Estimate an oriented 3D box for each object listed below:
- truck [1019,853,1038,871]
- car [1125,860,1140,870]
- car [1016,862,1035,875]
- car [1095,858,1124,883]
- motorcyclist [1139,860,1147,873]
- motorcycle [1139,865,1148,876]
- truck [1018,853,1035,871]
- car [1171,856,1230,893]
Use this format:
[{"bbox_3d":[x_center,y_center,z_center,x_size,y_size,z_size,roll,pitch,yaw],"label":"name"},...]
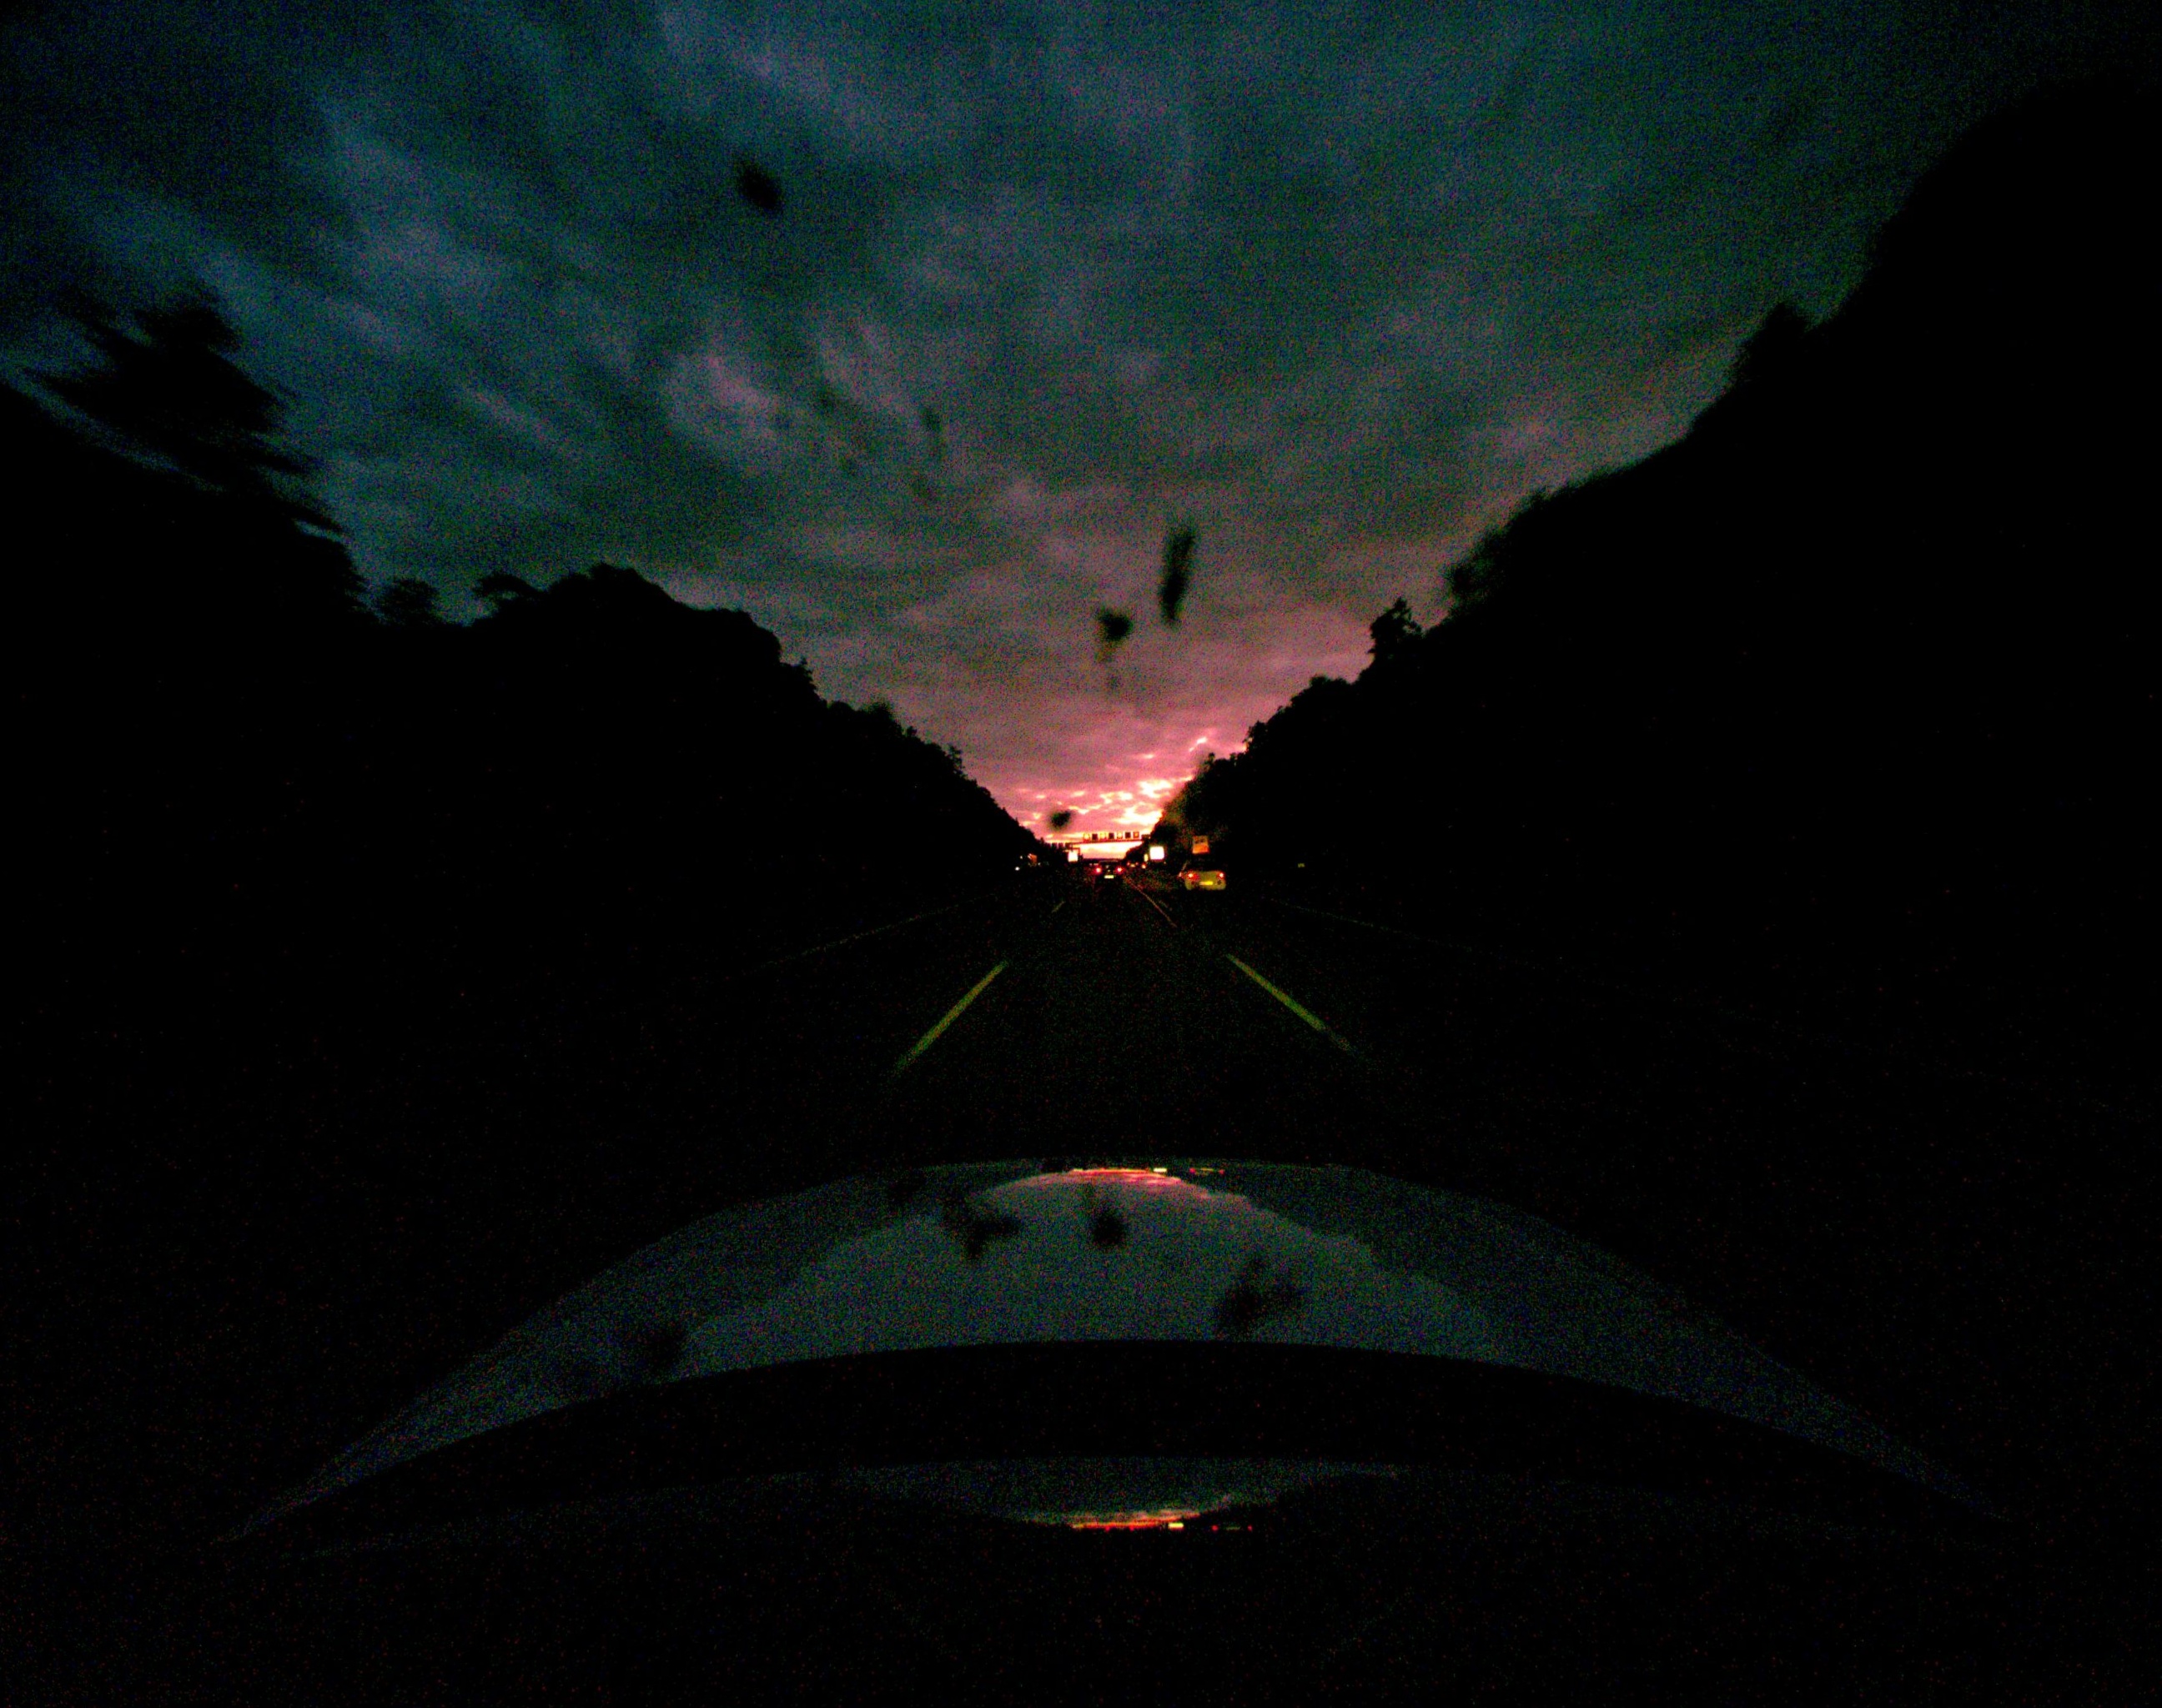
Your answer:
[{"bbox_3d":[-12.956,2.022,201.118,3.345,4.003,14.497,-2,-1,1],"label":"truck"},{"bbox_3d":[8.148,1.737,129.816,1.861,1.494,4.393,0,-2,-3],"label":"car"},{"bbox_3d":[-7.515,1.995,110.207,1.909,1.613,5.161,-3,-1,2],"label":"car"},{"bbox_3d":[1.729,1.038,50.145,1.697,1.509,4.233,0,-2,2],"label":"car"},{"bbox_3d":[6.581,1.319,86.375,0.826,1.292,1.190,-2,-1,1],"label":"motorcyclist"},{"bbox_3d":[6.598,1.736,86.433,0.826,1.134,2.476,-2,-1,2],"label":"motorcycle"},{"bbox_3d":[-13.047,1.920,194.292,3.368,4.003,6.880,-2,-1,1],"label":"truck"},{"bbox_3d":[5.002,0.885,34.618,1.820,1.476,4.397,0,-2,0],"label":"car"}]
